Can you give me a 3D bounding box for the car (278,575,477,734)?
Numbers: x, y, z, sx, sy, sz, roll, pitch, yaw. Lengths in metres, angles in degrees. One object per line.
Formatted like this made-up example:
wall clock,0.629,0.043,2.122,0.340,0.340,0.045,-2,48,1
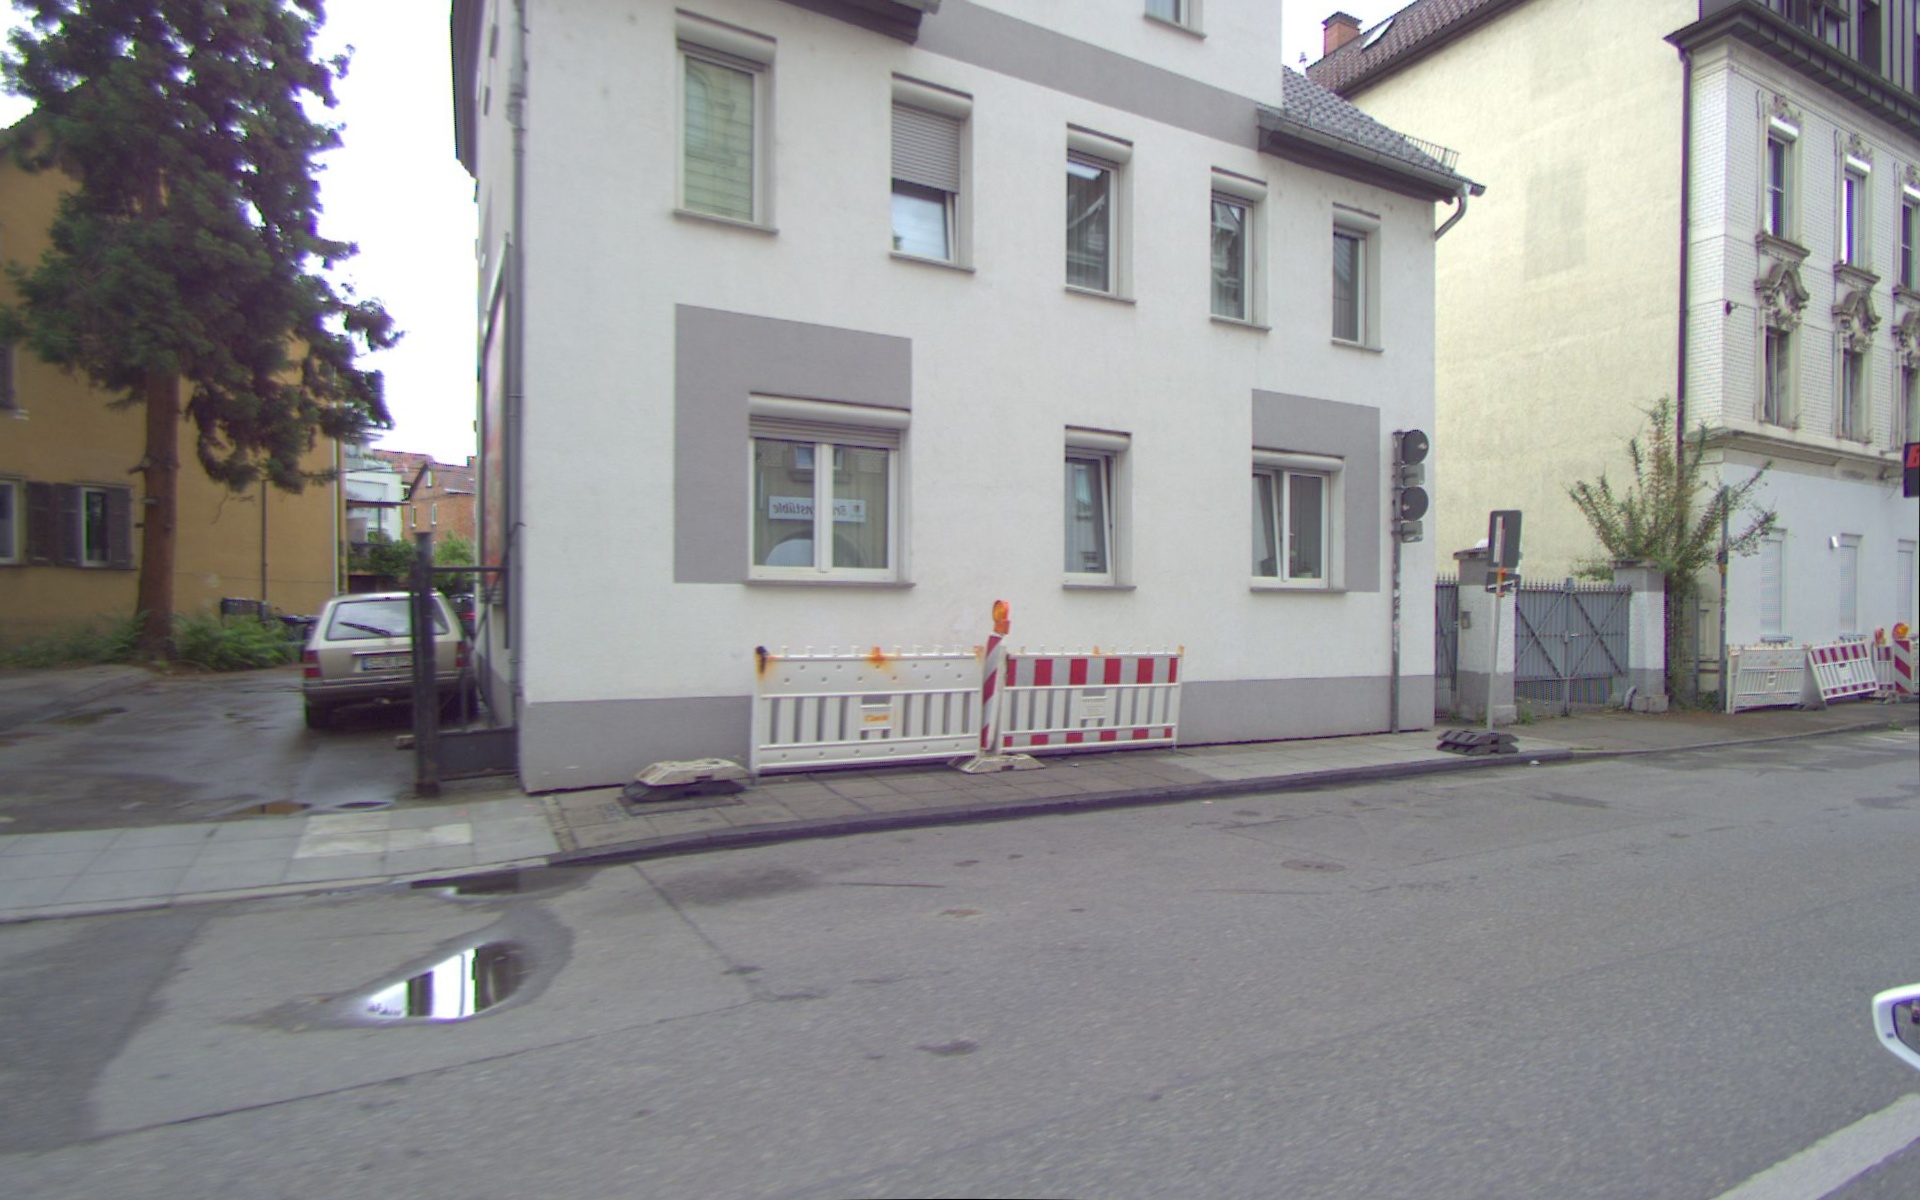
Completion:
car,-6.893,0.531,12.211,1.775,1.592,3.900,1,1,-27
